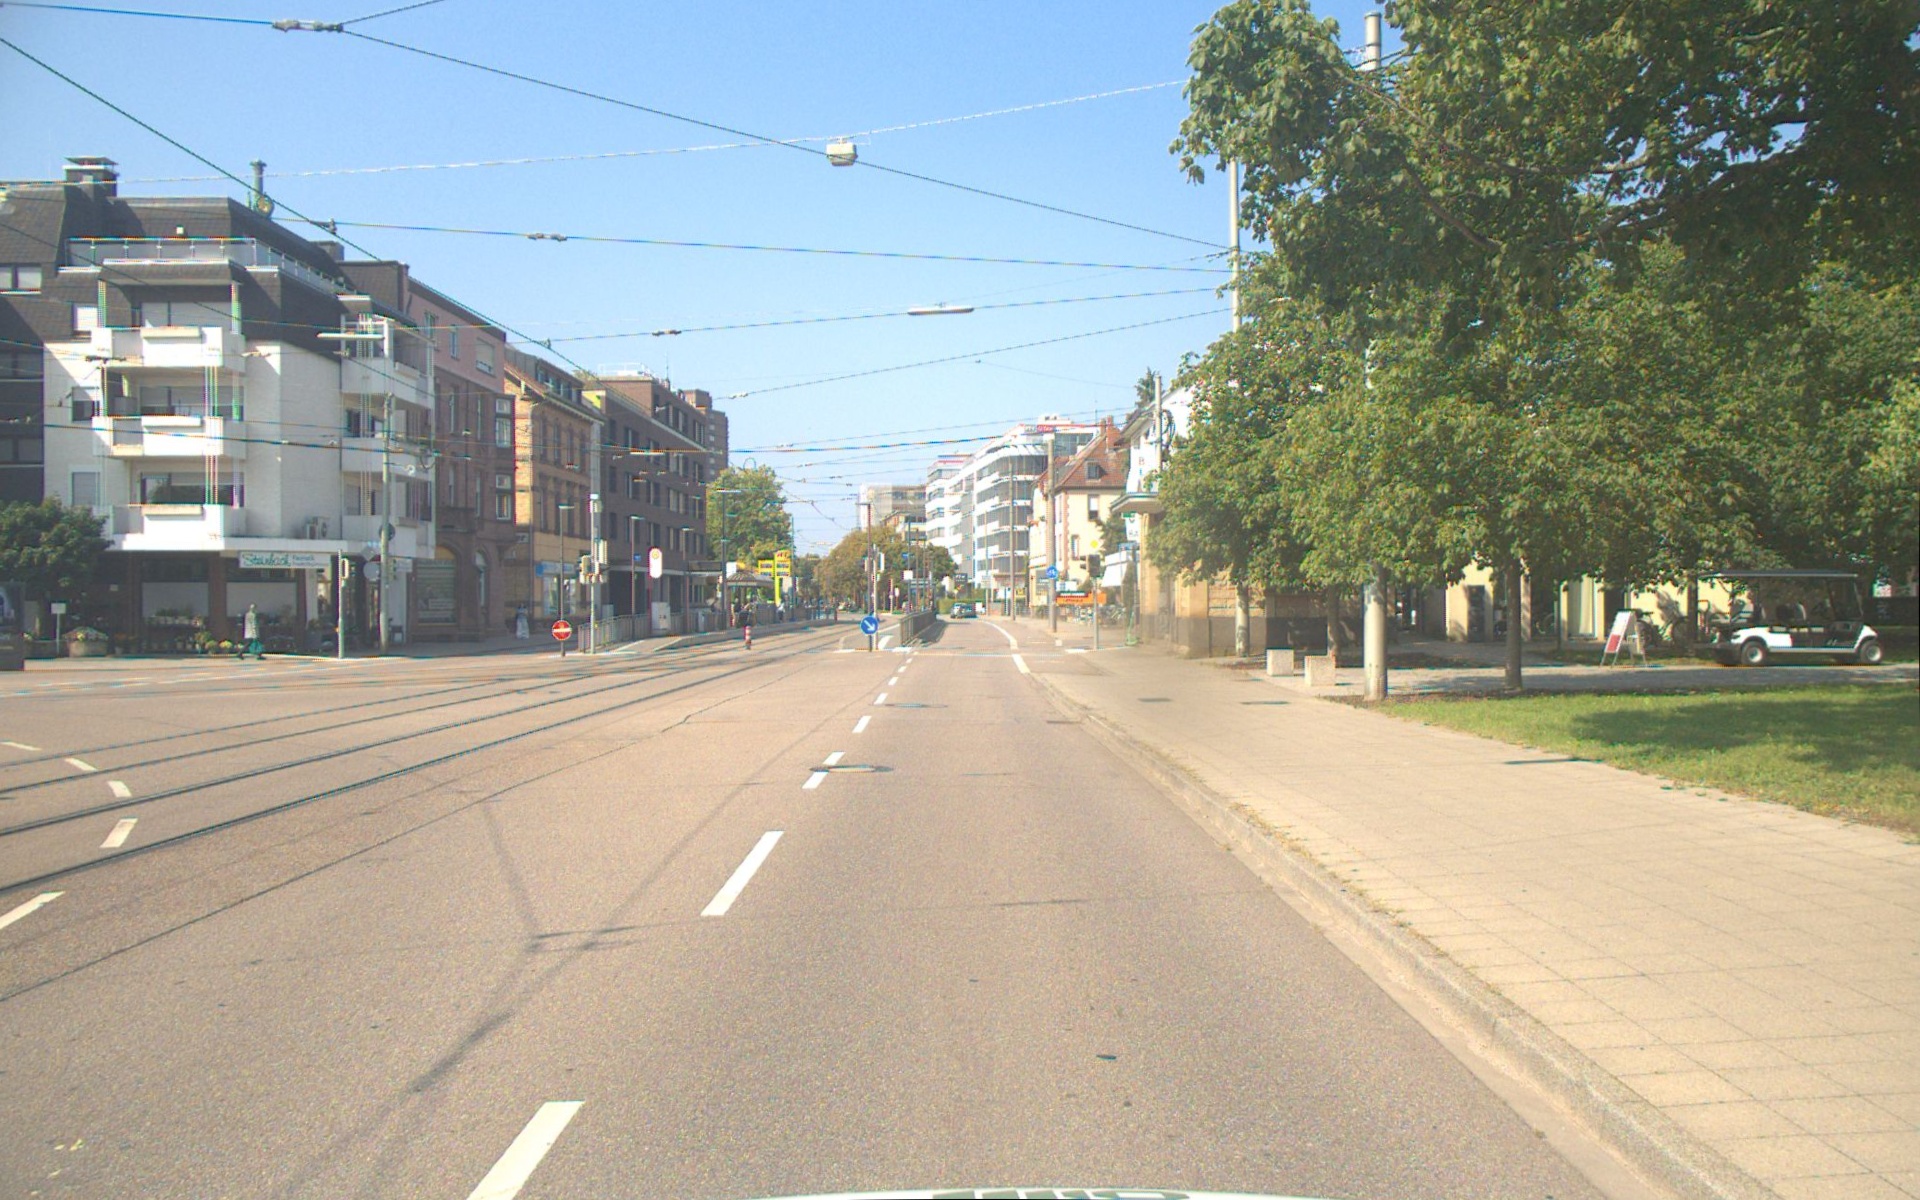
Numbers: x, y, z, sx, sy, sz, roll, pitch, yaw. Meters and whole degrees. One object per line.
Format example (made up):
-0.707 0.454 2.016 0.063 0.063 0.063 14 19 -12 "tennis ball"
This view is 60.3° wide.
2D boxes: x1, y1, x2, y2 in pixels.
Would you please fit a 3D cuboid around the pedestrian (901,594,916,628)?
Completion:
-2.675 0.567 85.836 0.705 1.733 0.884 -2 0 1 "pedestrian"

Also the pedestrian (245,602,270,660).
-22.008 0.980 51.792 0.593 1.776 0.559 -2 -1 -33 "pedestrian"

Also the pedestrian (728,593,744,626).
-12.319 0.534 90.896 0.693 1.777 0.799 -2 0 1 "pedestrian"

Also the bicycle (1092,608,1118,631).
7.532 1.003 85.882 0.717 1.152 2.835 -4 0 -7 "bicycle"

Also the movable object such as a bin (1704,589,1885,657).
17.125 0.455 34.001 3.041 1.321 1.301 -1 0 2 "movable object such as a bin"

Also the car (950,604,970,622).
-0.015 1.392 181.836 1.970 1.891 4.001 -2 0 1 "car"

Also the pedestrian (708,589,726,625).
-12.364 0.352 84.186 0.693 1.753 0.799 -2 0 1 "pedestrian"

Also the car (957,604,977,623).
0.782 1.402 175.694 1.970 1.891 4.001 -2 0 1 "car"

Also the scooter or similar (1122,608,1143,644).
5.659 0.853 54.214 0.512 1.153 1.511 -2 0 1 "scooter or similar"

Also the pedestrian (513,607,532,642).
-20.081 1.112 75.940 0.472 1.587 0.888 0 -1 11 "pedestrian"

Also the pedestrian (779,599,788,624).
-11.510 0.751 107.600 0.522 1.557 0.701 -2 0 -6 "pedestrian"

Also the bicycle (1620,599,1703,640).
17.203 0.471 40.568 1.865 0.997 0.427 0 0 0 "bicycle"
